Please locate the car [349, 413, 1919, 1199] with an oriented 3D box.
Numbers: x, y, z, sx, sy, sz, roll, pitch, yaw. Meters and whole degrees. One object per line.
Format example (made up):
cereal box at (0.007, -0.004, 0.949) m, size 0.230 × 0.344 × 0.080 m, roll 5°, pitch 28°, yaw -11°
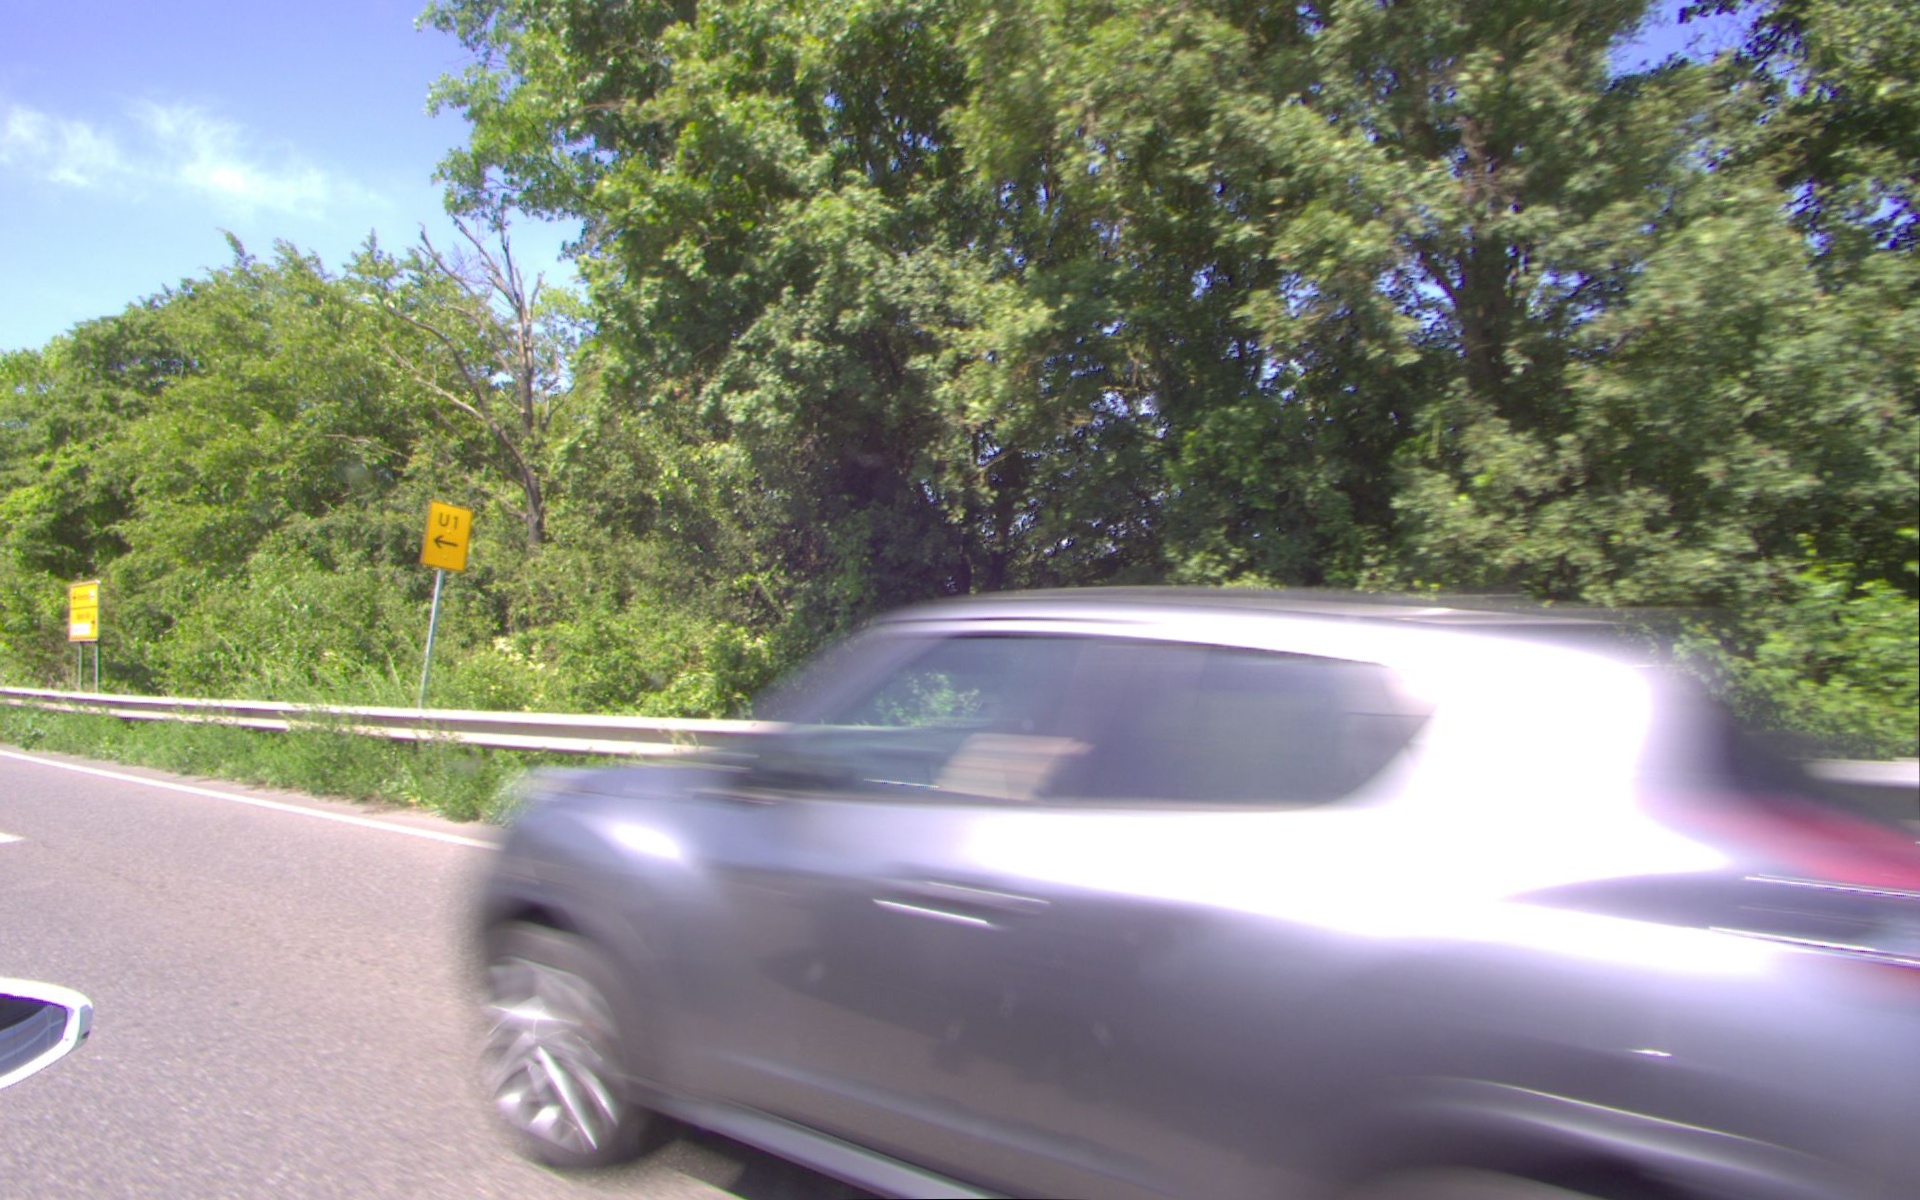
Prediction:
car at (0.233, 0.676, 2.848) m, size 3.943 × 1.706 × 1.840 m, roll -1°, pitch -1°, yaw 32°
